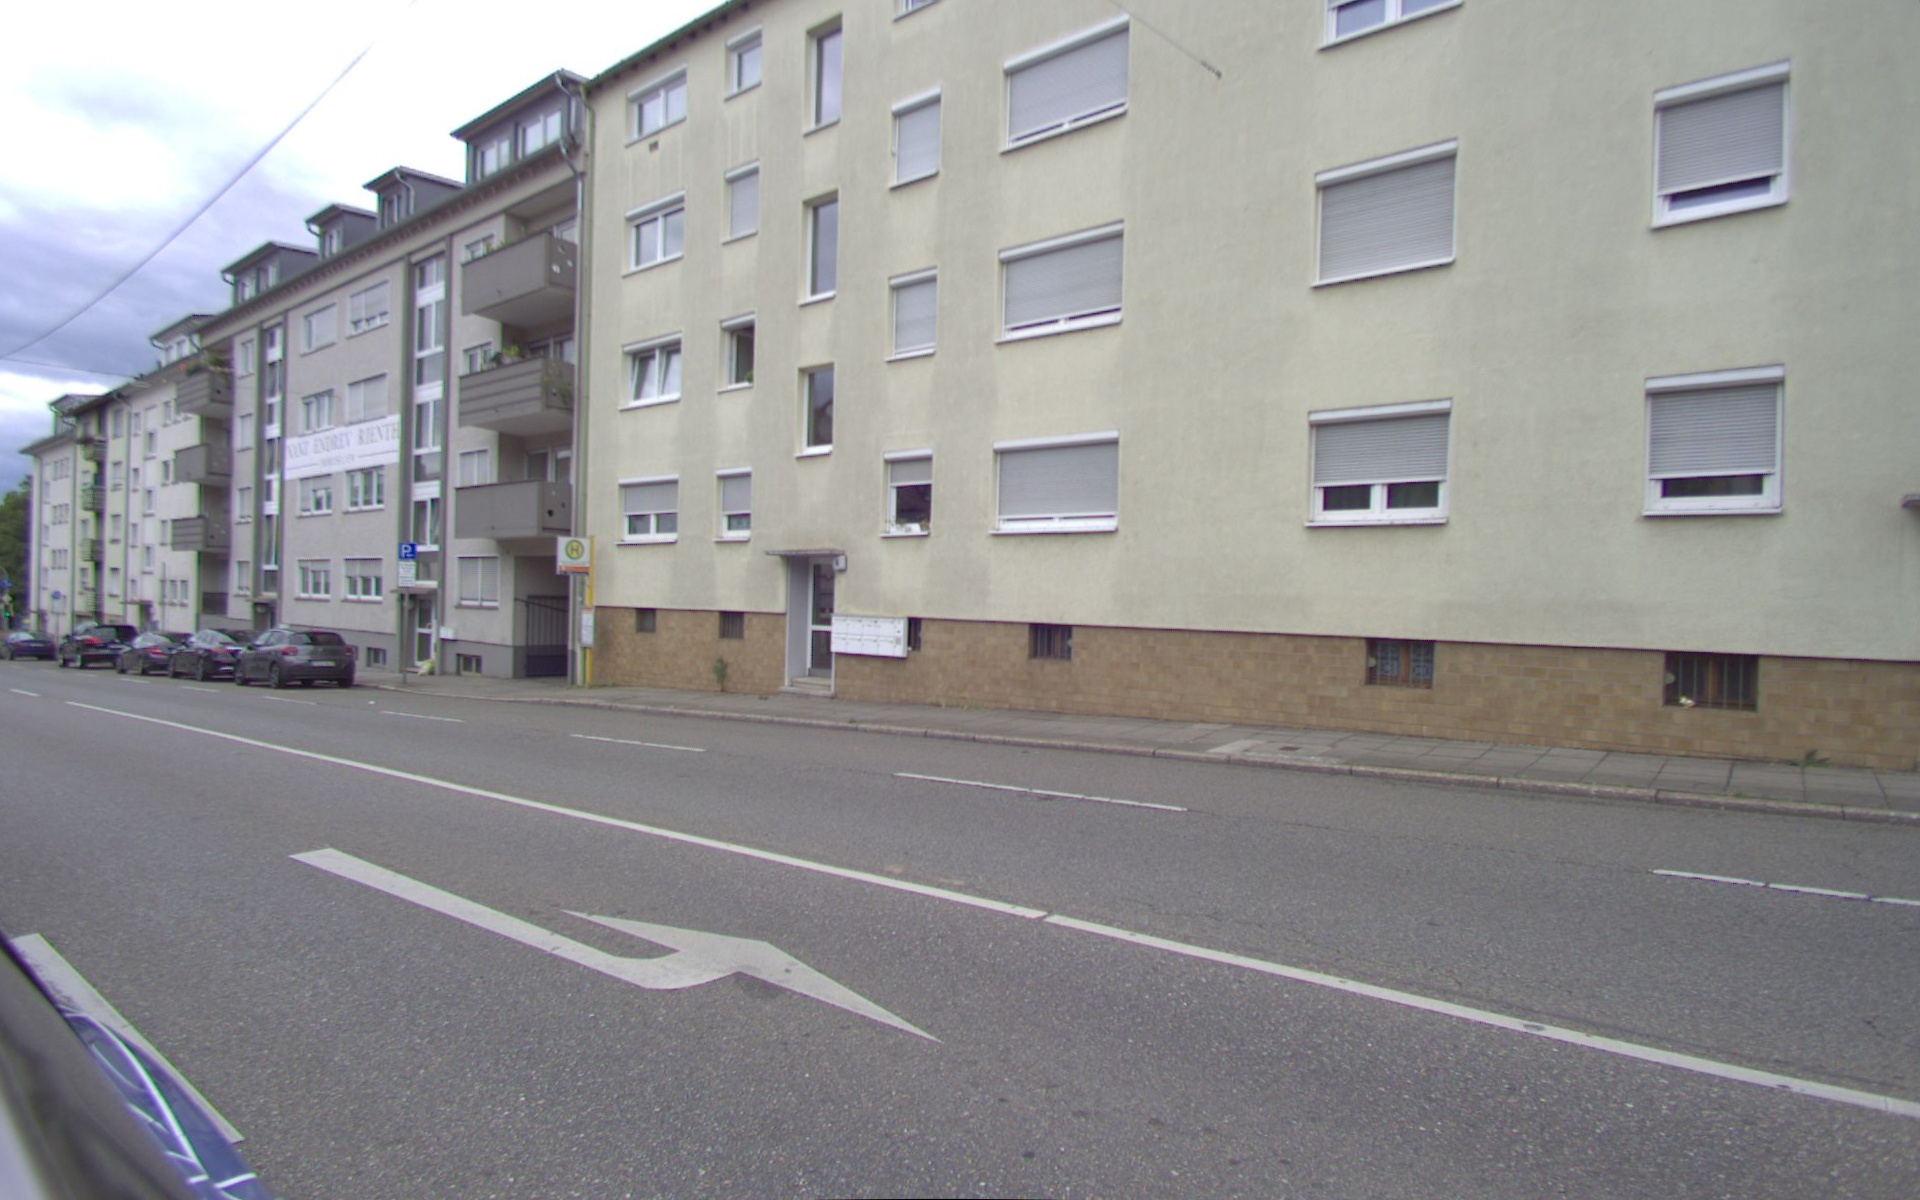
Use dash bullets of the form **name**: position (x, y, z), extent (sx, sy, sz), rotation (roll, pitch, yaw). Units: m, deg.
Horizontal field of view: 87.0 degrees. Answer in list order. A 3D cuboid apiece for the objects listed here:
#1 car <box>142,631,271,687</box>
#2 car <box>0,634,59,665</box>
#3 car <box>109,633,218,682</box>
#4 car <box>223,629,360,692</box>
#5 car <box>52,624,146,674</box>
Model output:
- **car**: position (-21.402, 1.642, 28.665), extent (4.713, 1.416, 1.750), rotation (-1, -4, 39)
- **car**: position (-45.371, 2.374, 49.146), extent (4.305, 1.391, 1.851), rotation (-1, -4, 41)
- **car**: position (-25.437, 1.807, 32.262), extent (4.302, 1.416, 1.750), rotation (-1, -4, 39)
- **car**: position (-16.841, 1.487, 25.440), extent (3.797, 1.447, 1.751), rotation (-1, -4, 39)
- **car**: position (-32.631, 1.834, 38.311), extent (4.302, 1.767, 1.852), rotation (-1, -4, 39)
